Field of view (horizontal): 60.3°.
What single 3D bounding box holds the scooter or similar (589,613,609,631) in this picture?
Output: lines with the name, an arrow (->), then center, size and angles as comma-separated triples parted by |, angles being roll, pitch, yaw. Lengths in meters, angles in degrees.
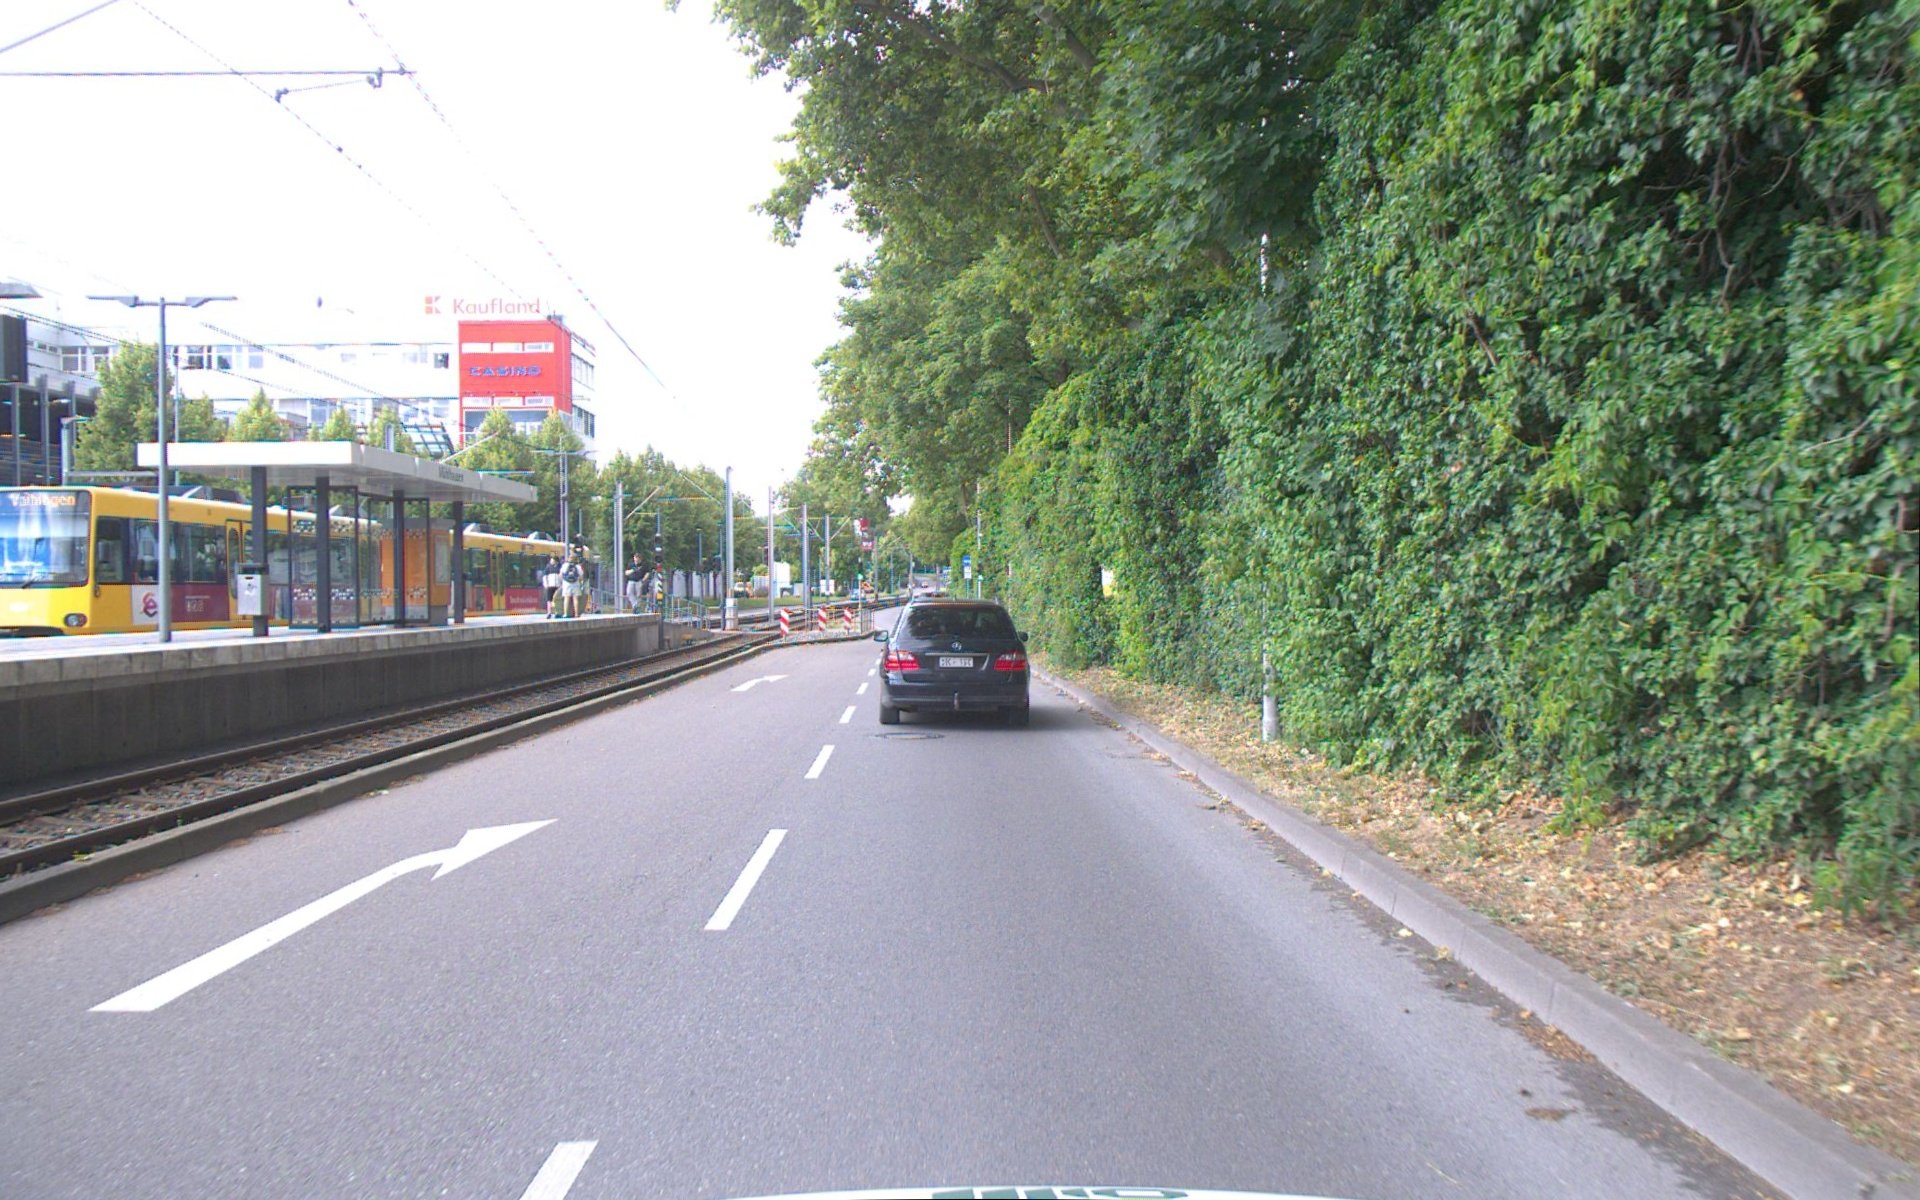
scooter or similar -> -15.853, 0.969, 72.709 | 0.485, 0.781, 0.799 | -2, 0, 20

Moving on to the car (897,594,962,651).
car -> -0.915, 0.617, 48.507 | 1.788, 1.556, 4.414 | 0, 0, -2

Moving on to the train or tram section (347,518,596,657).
train or tram section -> -16.017, -0.324, 56.553 | 2.700, 3.895, 18.632 | -2, 0, 1

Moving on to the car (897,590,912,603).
car -> -7.247, -0.461, 217.545 | 1.788, 1.556, 3.986 | 0, 0, 0

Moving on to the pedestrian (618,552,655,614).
pedestrian -> -9.094, -0.479, 46.463 | 0.856, 1.707, 0.745 | -2, 0, -3

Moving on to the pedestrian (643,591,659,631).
pedestrian -> -13.440, 0.479, 72.041 | 0.505, 1.691, 0.466 | -2, 0, 10

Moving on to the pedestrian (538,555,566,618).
pedestrian -> -10.065, -0.334, 40.795 | 0.471, 1.509, 0.536 | -2, 0, -34

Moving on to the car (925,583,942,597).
car -> -2.960, -1.099, 184.978 | 1.788, 1.556, 3.928 | 0, 0, 0

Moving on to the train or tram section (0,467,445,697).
train or tram section -> -16.231, -0.351, 38.008 | 2.700, 3.950, 18.632 | -2, 0, 0

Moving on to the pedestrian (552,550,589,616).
pedestrian -> -10.309, -0.439, 43.826 | 0.755, 1.707, 0.790 | -2, 0, -1

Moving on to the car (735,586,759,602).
car -> -25.323, -0.734, 197.200 | 1.952, 1.773, 4.989 | -1, 0, 3

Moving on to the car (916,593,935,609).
car -> -3.386, 0.103, 162.977 | 1.788, 1.556, 4.416 | -1, 0, 0

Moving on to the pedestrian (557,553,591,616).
pedestrian -> -9.329, -0.378, 40.001 | 0.510, 1.508, 0.579 | -2, 0, 37

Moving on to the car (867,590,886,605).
car -> -8.760, -0.254, 173.462 | 1.788, 1.556, 3.928 | 0, 0, 0

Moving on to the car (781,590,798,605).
car -> -23.521, -0.353, 228.273 | 1.953, 2.049, 3.999 | -2, 0, -2

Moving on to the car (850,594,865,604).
car -> -14.349, -0.103, 231.475 | 1.625, 1.417, 3.721 | 0, 0, 4

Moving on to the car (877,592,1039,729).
car -> -0.037, 0.676, 20.533 | 1.796, 1.504, 4.415 | 0, 0, -1
